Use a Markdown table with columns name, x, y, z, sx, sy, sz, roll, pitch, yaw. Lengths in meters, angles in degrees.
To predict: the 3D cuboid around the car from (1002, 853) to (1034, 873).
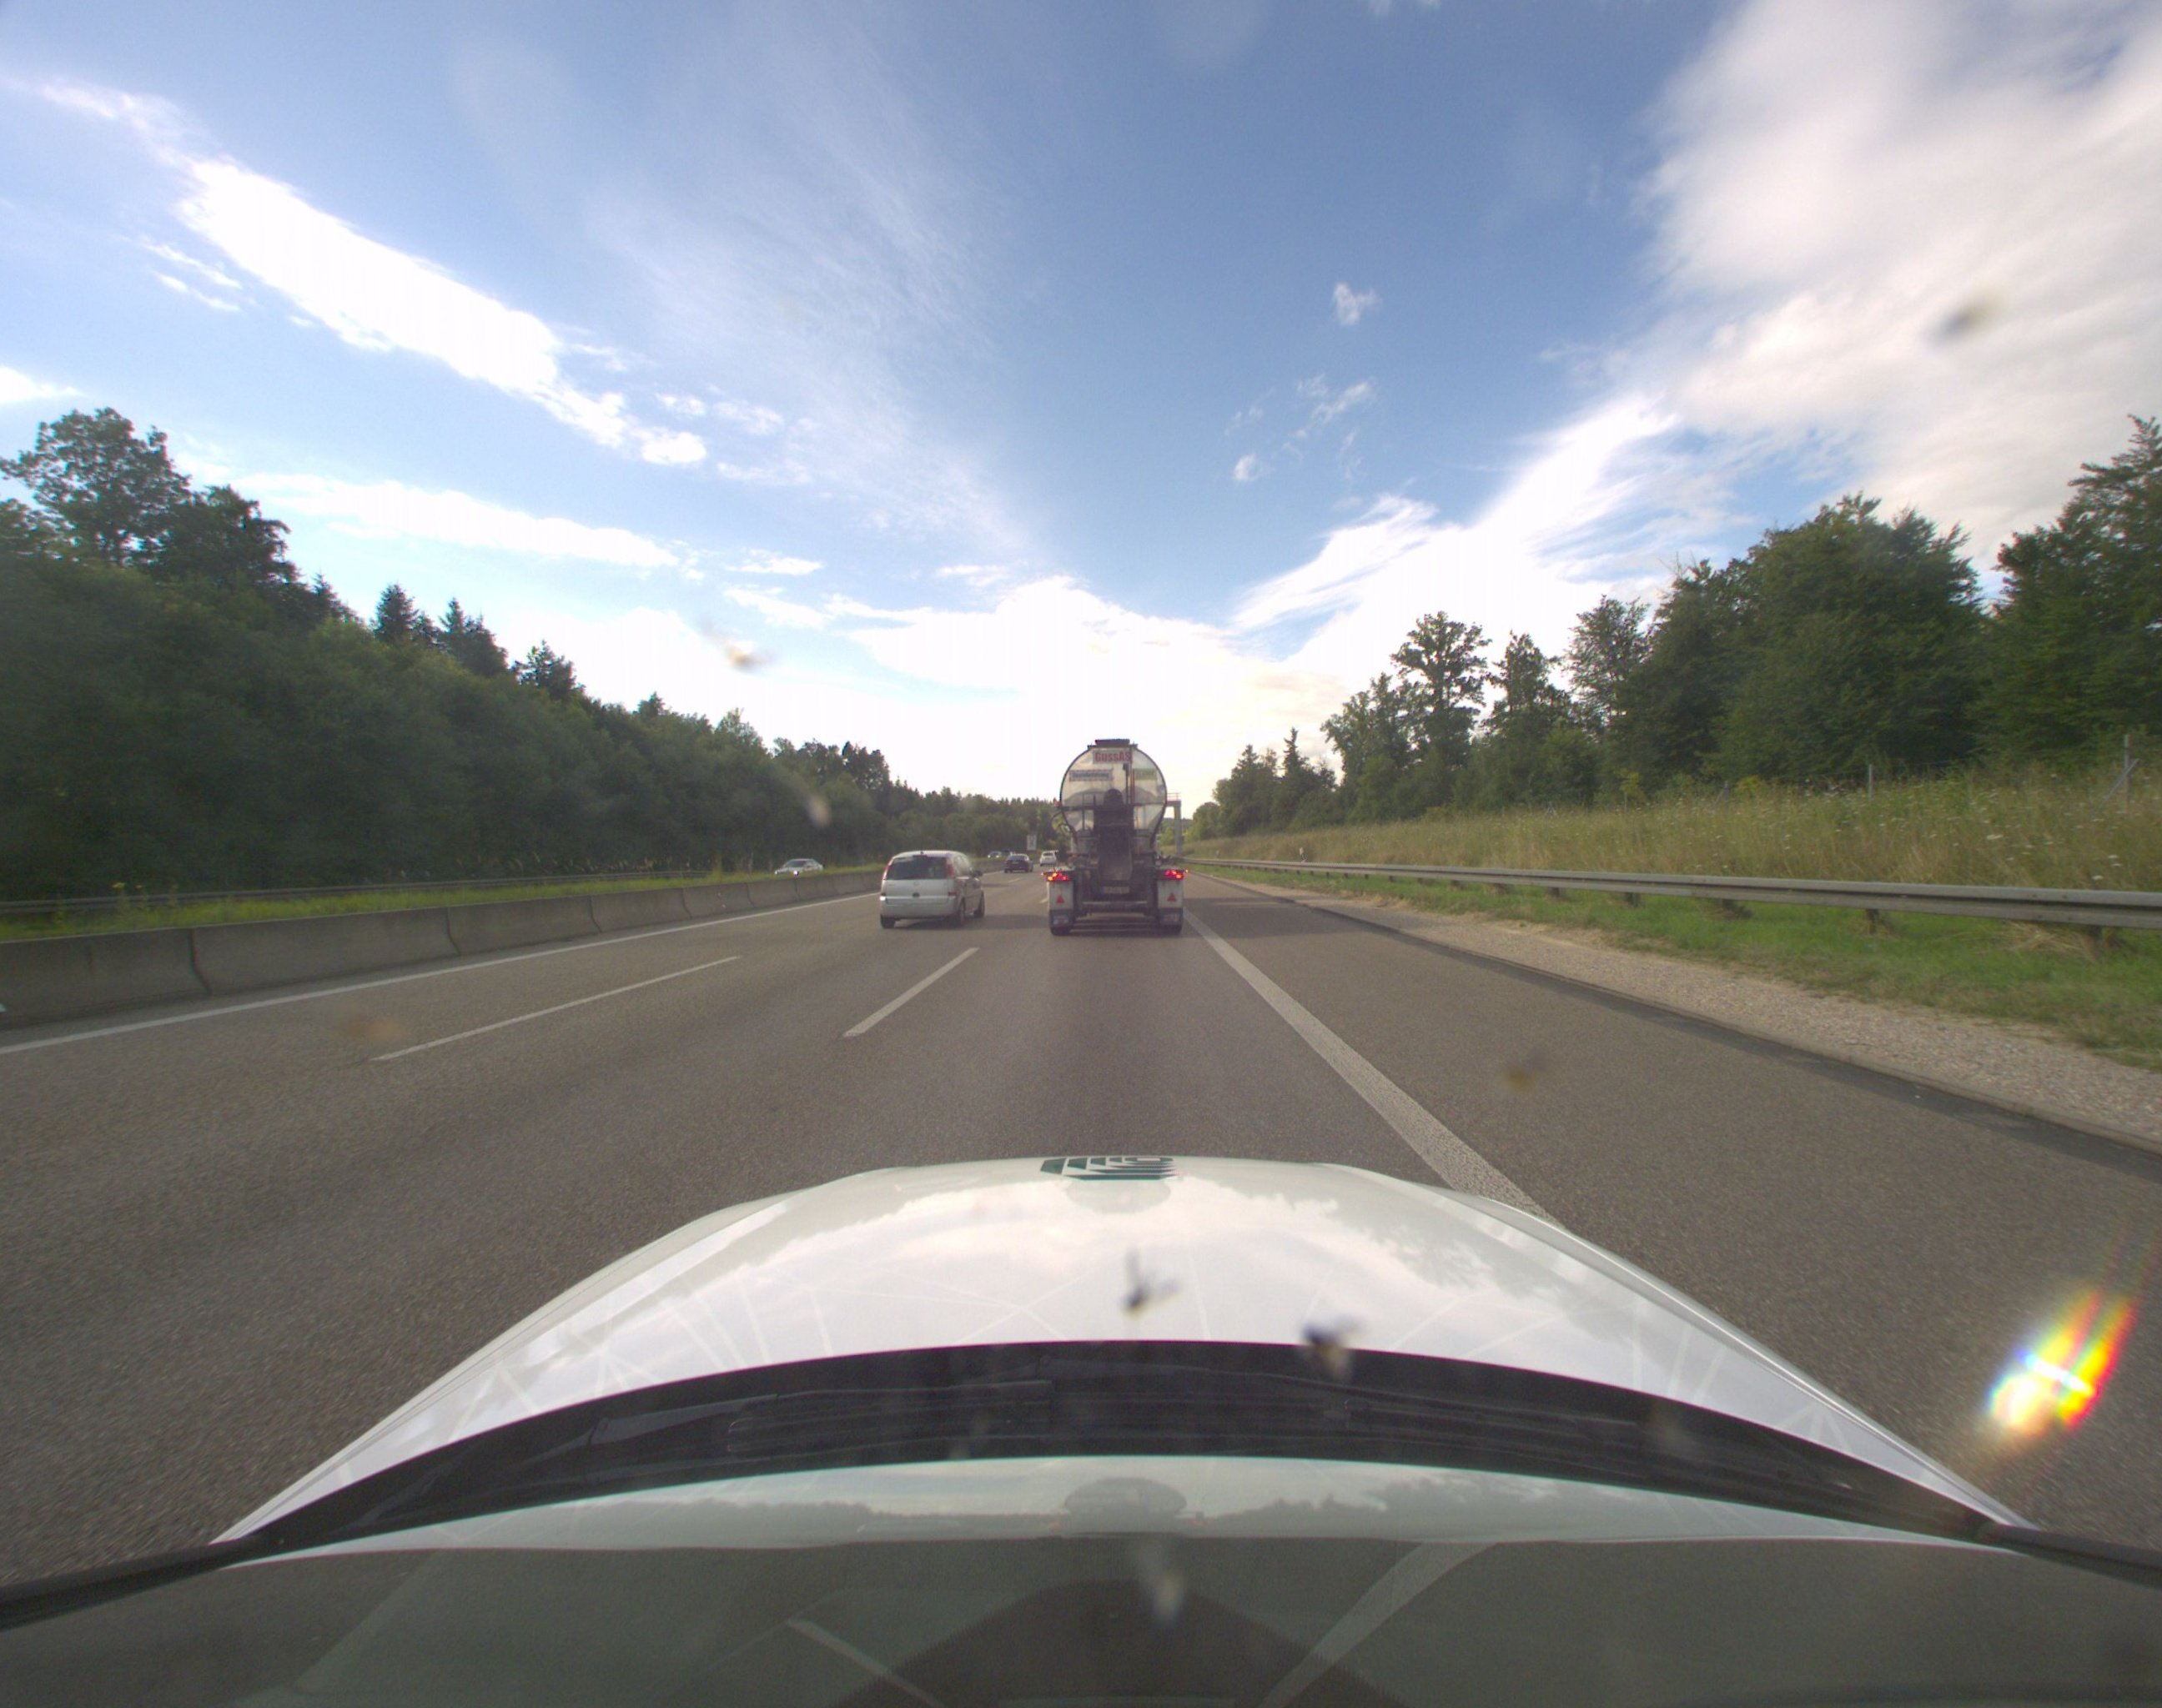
| name | x | y | z | sx | sy | sz | roll | pitch | yaw |
| --- | --- | --- | --- | --- | --- | --- | --- | --- | --- |
| car | -4.747 | 0.677 | 61.961 | 1.848 | 1.431 | 4.844 | -1 | 0 | 3 |

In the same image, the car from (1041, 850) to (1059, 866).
| name | x | y | z | sx | sy | sz | roll | pitch | yaw |
| --- | --- | --- | --- | --- | --- | --- | --- | --- | --- |
| car | -3.204 | 0.415 | 84.702 | 1.612 | 1.544 | 3.521 | -1 | 0 | 2 |

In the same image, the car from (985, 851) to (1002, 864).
| name | x | y | z | sx | sy | sz | roll | pitch | yaw |
| --- | --- | --- | --- | --- | --- | --- | --- | --- | --- |
| car | -13.163 | 0.483 | 123.015 | 1.986 | 1.881 | 4.439 | -1 | 0 | 2 |

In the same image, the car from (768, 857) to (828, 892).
| name | x | y | z | sx | sy | sz | roll | pitch | yaw |
| --- | --- | --- | --- | --- | --- | --- | --- | --- | --- |
| car | -16.836 | 1.191 | 48.704 | 1.919 | 1.905 | 4.431 | -1 | 0 | 1 |

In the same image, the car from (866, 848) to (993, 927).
| name | x | y | z | sx | sy | sz | roll | pitch | yaw |
| --- | --- | --- | --- | --- | --- | --- | --- | --- | --- |
| car | -3.227 | 0.650 | 18.243 | 1.828 | 1.517 | 4.336 | -1 | 0 | 2 |

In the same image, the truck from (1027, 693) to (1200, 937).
| name | x | y | z | sx | sy | sz | roll | pitch | yaw |
| --- | --- | --- | --- | --- | --- | --- | --- | --- | --- |
| truck | 0.844 | -0.695 | 19.654 | 2.901 | 4.157 | 11.278 | -1 | 0 | 3 |

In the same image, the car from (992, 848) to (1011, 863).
| name | x | y | z | sx | sy | sz | roll | pitch | yaw |
| --- | --- | --- | --- | --- | --- | --- | --- | --- | --- |
| car | -10.800 | 0.177 | 111.156 | 1.986 | 2.013 | 4.073 | -1 | 0 | 2 |

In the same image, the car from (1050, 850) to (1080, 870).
| name | x | y | z | sx | sy | sz | roll | pitch | yaw |
| --- | --- | --- | --- | --- | --- | --- | --- | --- | --- |
| car | -1.307 | 0.464 | 67.713 | 2.052 | 1.499 | 5.740 | -1 | 0 | 3 |

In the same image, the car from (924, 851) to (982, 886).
| name | x | y | z | sx | sy | sz | roll | pitch | yaw |
| --- | --- | --- | --- | --- | --- | --- | --- | --- | --- |
| car | -5.979 | 0.659 | 38.392 | 1.828 | 1.517 | 4.336 | -1 | 0 | 2 |

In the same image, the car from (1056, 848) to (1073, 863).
| name | x | y | z | sx | sy | sz | roll | pitch | yaw |
| --- | --- | --- | --- | --- | --- | --- | --- | --- | --- |
| car | -2.010 | 0.162 | 99.493 | 1.839 | 1.783 | 4.001 | -1 | 0 | 1 |

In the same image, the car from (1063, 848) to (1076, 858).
| name | x | y | z | sx | sy | sz | roll | pitch | yaw |
| --- | --- | --- | --- | --- | --- | --- | --- | --- | --- |
| car | -1.739 | -0.153 | 126.373 | 1.800 | 1.586 | 4.209 | -1 | 0 | 2 |
